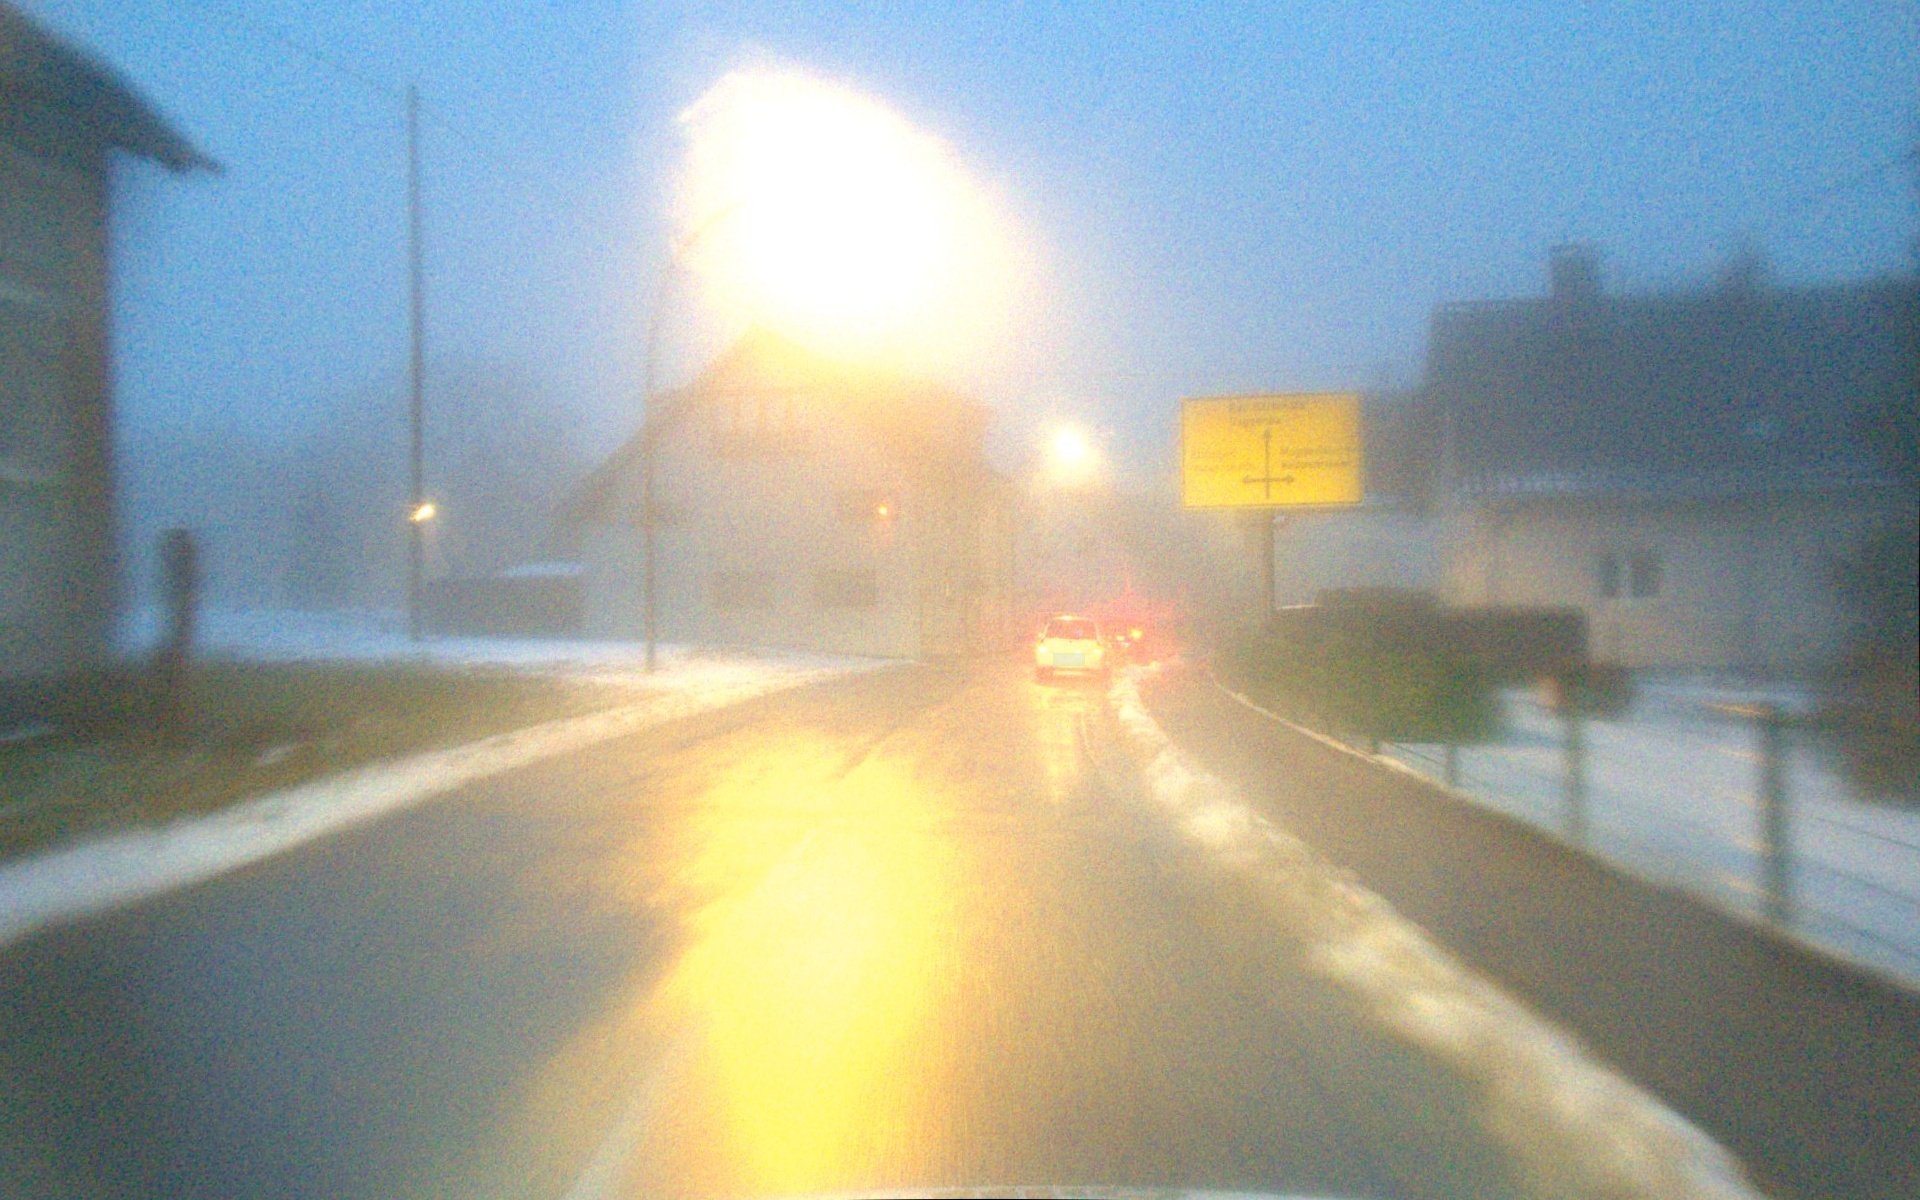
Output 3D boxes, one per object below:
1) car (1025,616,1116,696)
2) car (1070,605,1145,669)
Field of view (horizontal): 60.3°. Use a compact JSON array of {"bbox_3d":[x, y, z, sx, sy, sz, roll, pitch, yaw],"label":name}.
[{"bbox_3d":[2.562,1.249,38.526,1.952,1.534,4.003,-2,1,4],"label":"car"},{"bbox_3d":[4.961,1.195,55.122,1.951,1.869,4.004,-2,1,12],"label":"car"}]
